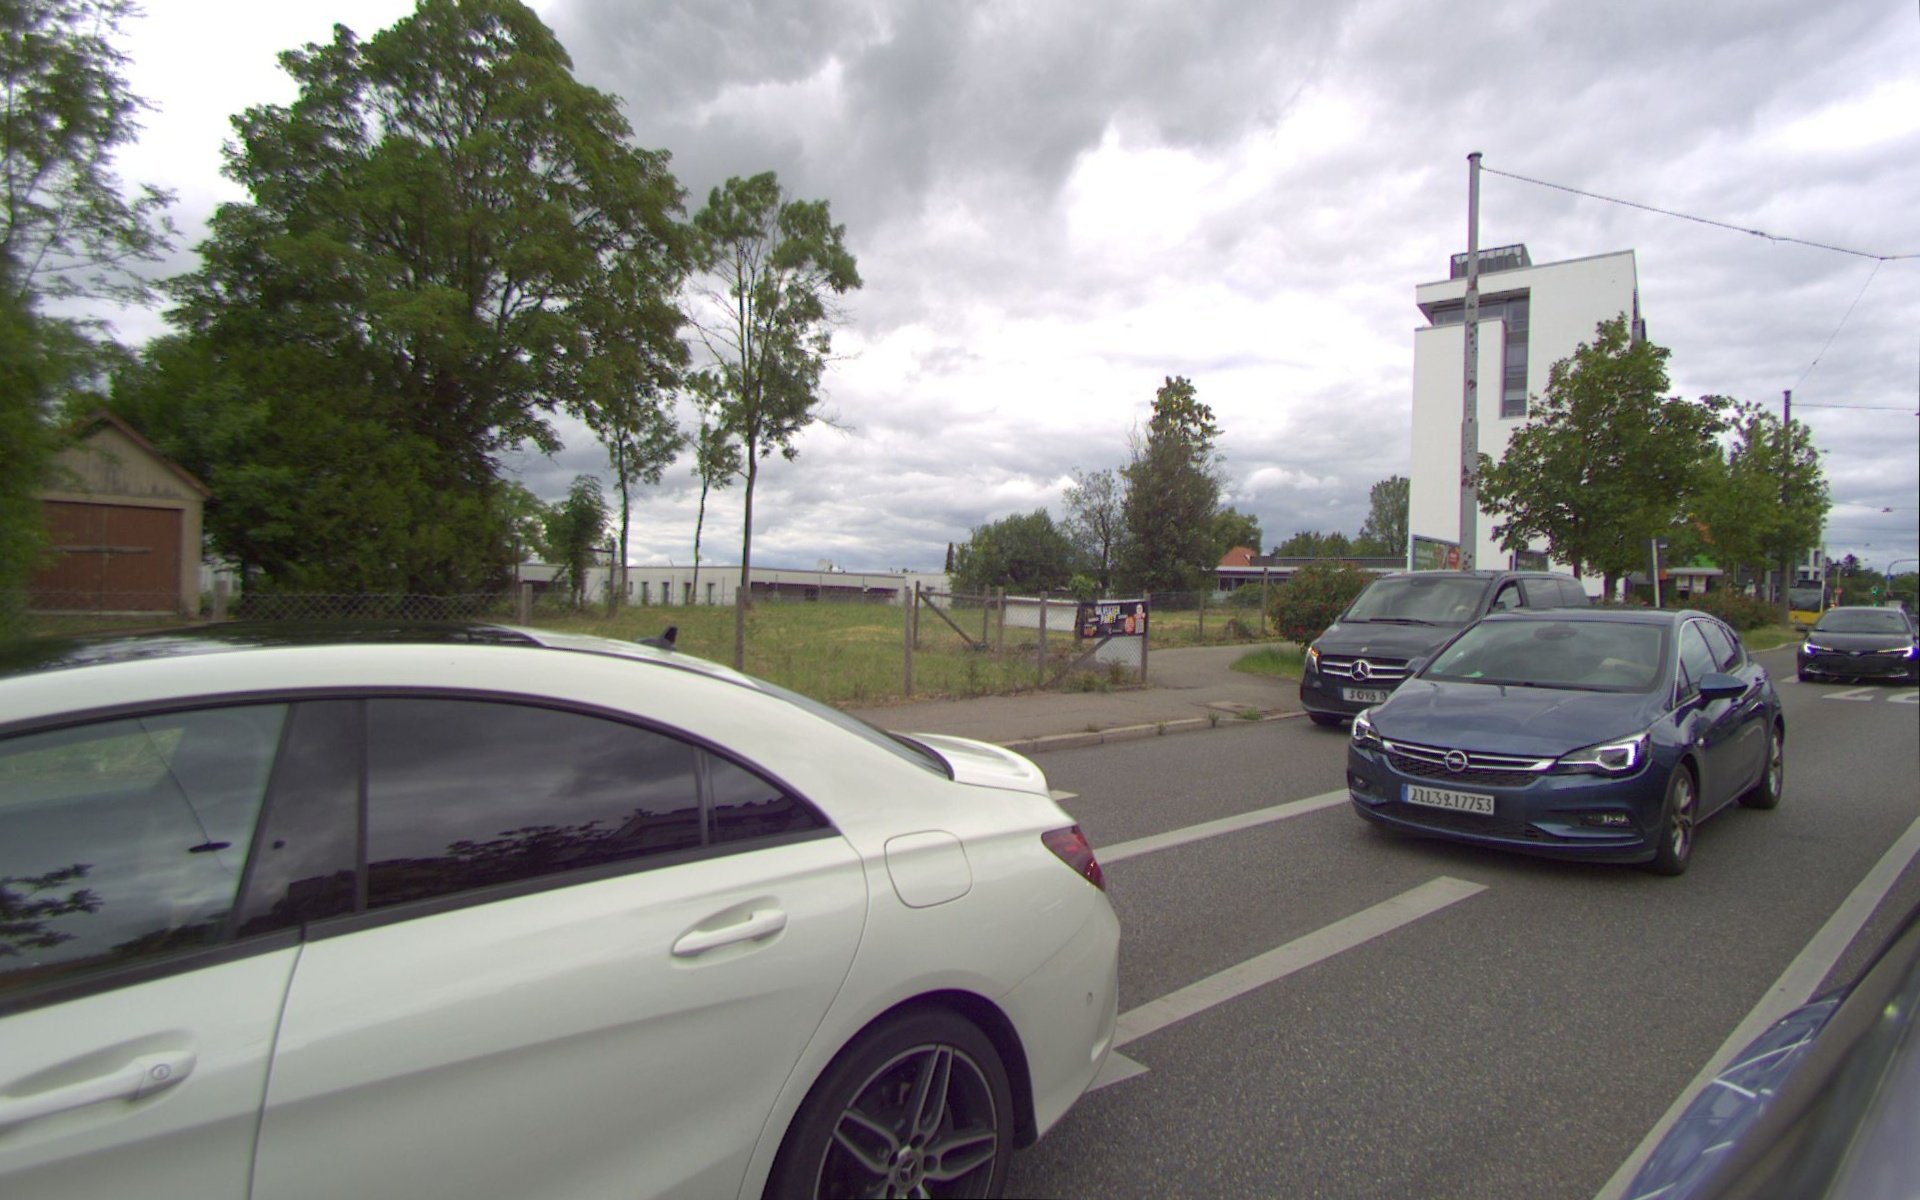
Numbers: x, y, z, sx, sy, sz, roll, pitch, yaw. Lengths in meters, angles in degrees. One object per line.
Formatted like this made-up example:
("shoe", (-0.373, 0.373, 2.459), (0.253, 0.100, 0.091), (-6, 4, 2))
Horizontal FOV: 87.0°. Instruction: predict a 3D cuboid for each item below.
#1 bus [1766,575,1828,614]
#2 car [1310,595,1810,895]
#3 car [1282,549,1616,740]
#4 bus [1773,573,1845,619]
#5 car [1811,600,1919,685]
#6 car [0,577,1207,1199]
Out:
("bus", (61.424, -0.447, 74.475), (2.952, 2.664, 12.751), (0, 1, 37))
("car", (4.215, 0.689, 6.851), (3.931, 1.428, 1.825), (0, 0, -42))
("car", (6.018, 0.435, 12.192), (4.627, 1.863, 1.952), (0, -1, -41))
("bus", (53.957, -0.312, 64.575), (2.952, 2.664, 11.986), (0, 1, 37))
("car", (17.775, 0.739, 19.568), (3.857, 1.475, 1.662), (0, 0, -44))
("car", (-1.535, 0.696, 1.817), (4.300, 1.451, 1.652), (0, 1, -41))
